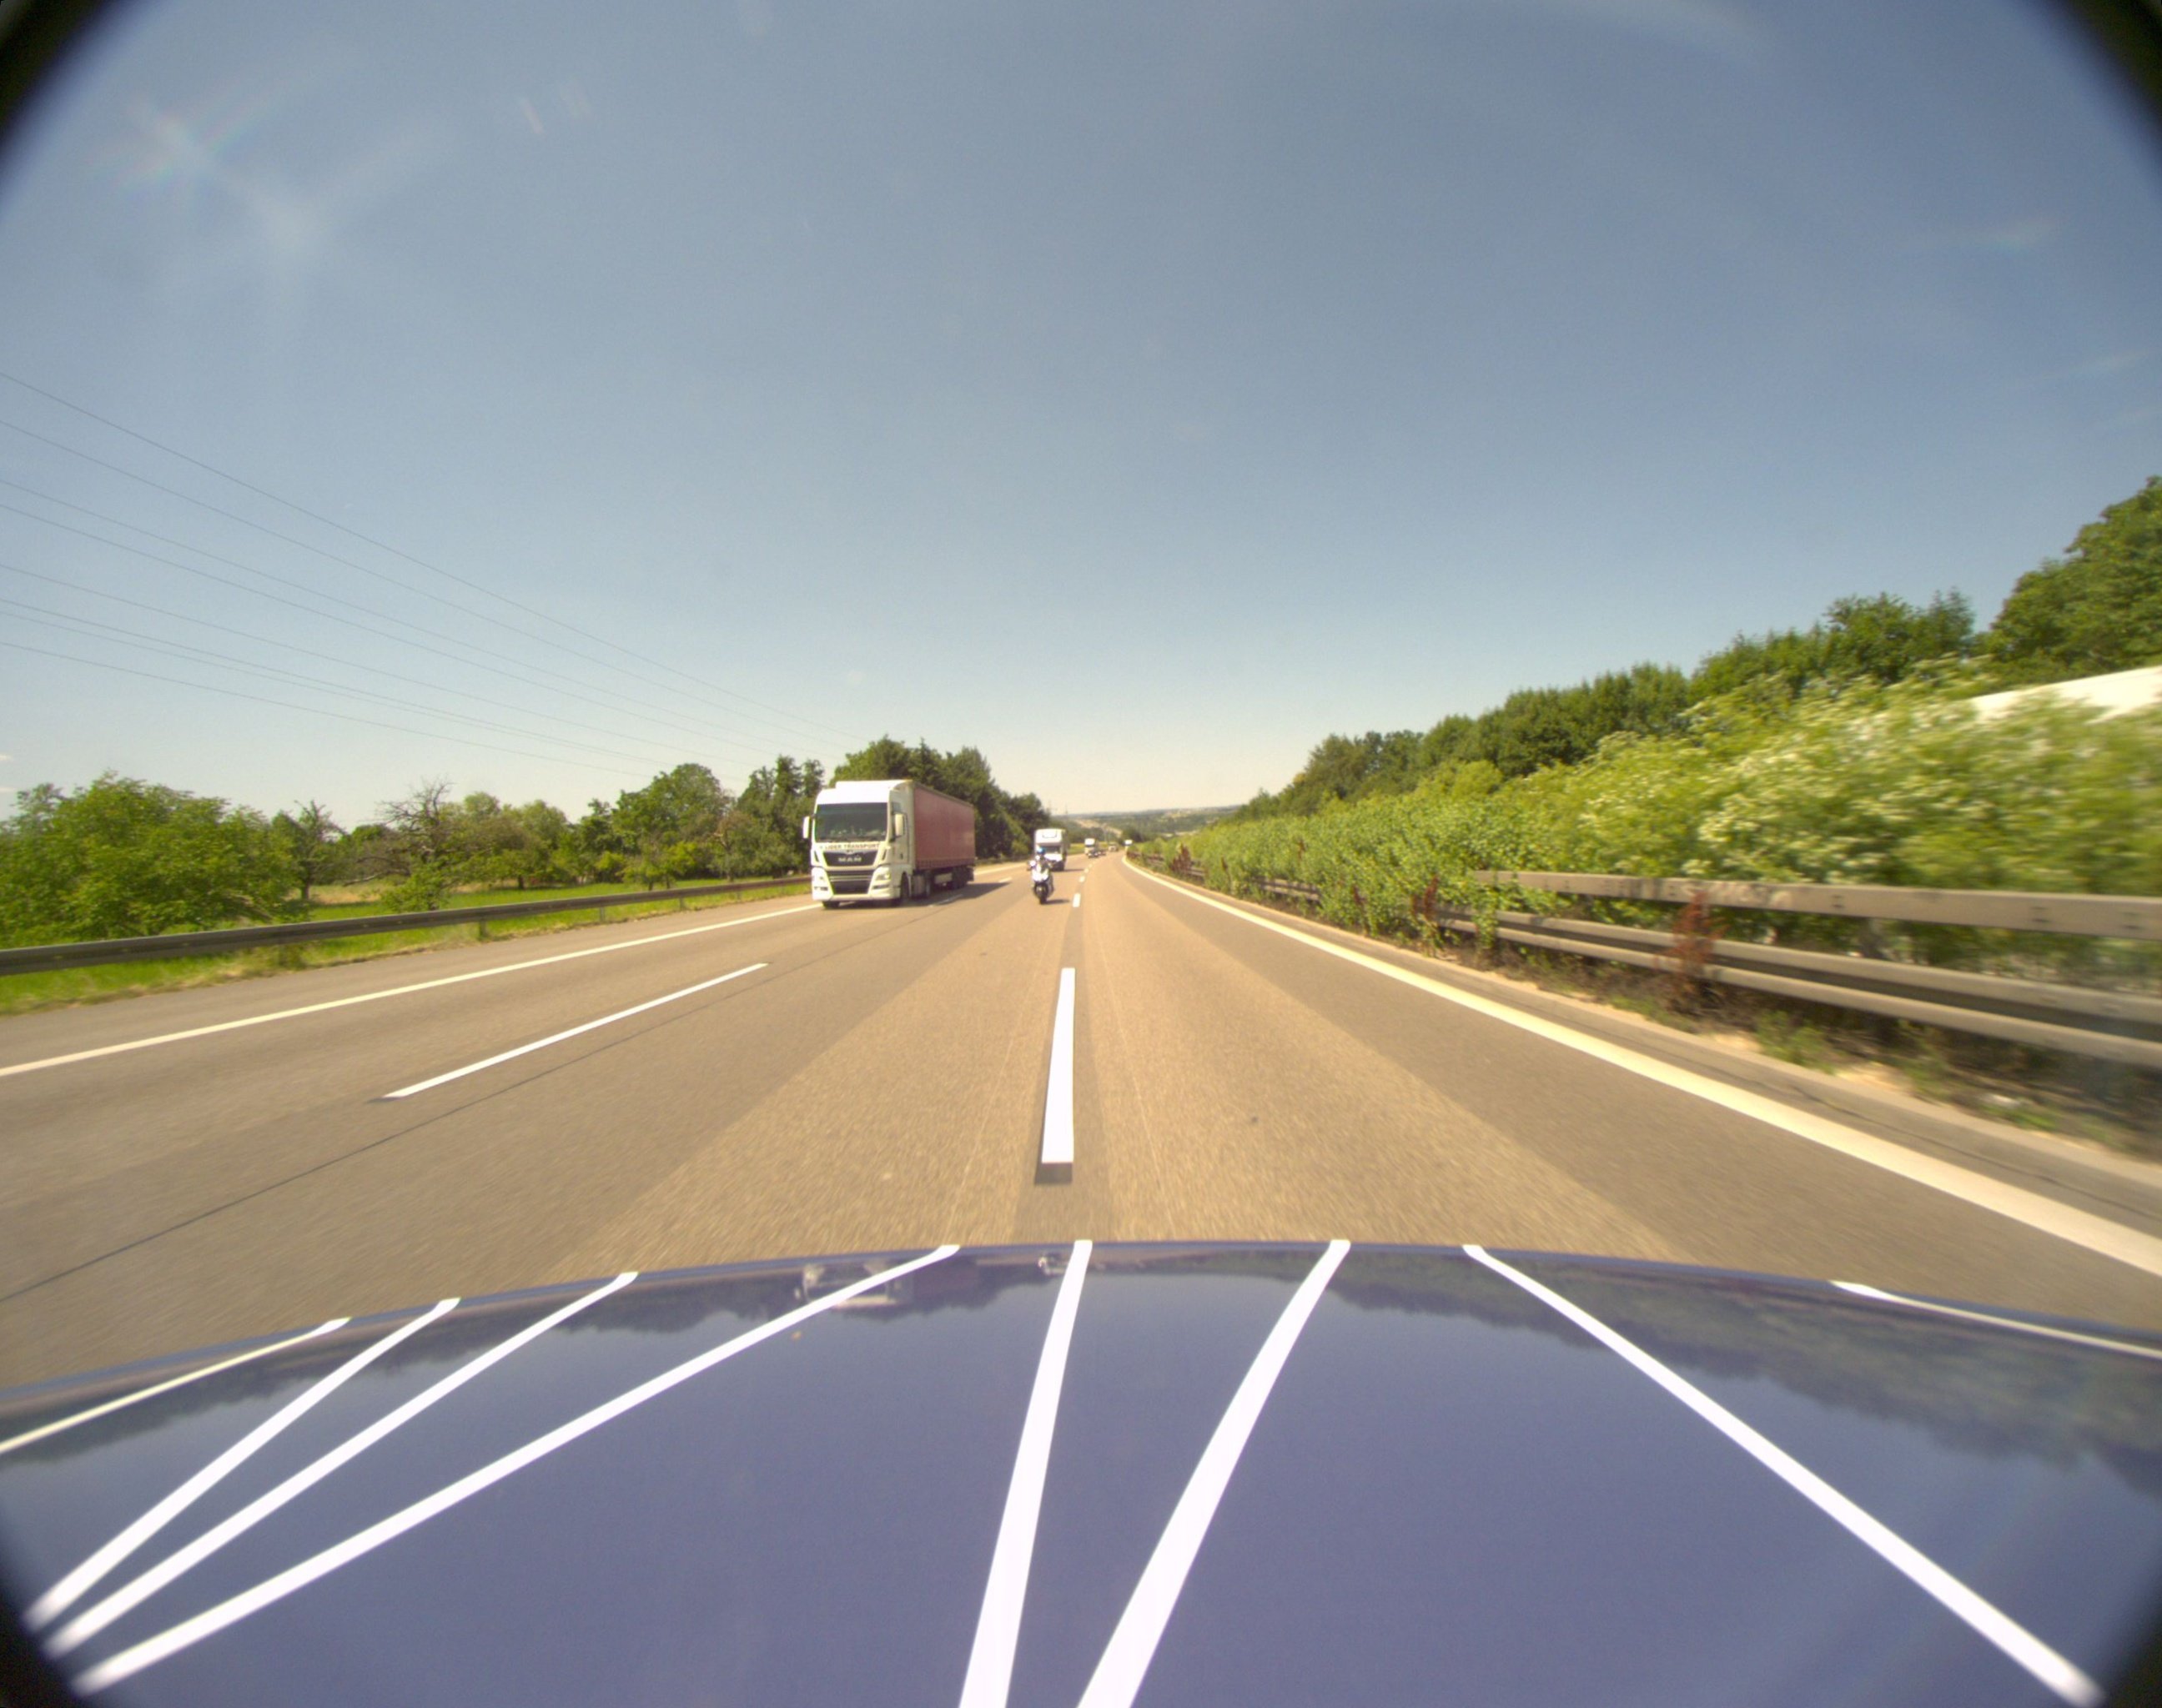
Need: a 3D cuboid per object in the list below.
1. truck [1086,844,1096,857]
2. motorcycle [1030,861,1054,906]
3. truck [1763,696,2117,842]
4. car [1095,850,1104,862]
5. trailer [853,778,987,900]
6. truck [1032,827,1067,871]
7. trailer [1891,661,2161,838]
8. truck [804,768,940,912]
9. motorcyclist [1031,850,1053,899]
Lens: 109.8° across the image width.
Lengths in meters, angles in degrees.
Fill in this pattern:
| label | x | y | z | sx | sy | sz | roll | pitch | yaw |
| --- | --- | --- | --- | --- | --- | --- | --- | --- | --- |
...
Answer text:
| label | x | y | z | sx | sy | sz | roll | pitch | yaw |
| --- | --- | --- | --- | --- | --- | --- | --- | --- | --- |
| truck | 2.677 | -0.885 | 203.079 | 2.591 | 3.444 | 5.962 | -1 | 1 | 0 |
| motorcycle | -1.197 | 0.885 | 23.596 | 0.631 | 1.279 | 2.312 | -2 | 1 | -1 |
| truck | 18.727 | -1.692 | 17.042 | 2.695 | 2.732 | 4.644 | -1 | 1 | 0 |
| car | 3.389 | 0.348 | 139.164 | 1.704 | 1.958 | 4.000 | -1 | 1 | 2 |
| trailer | -6.494 | -0.596 | 33.338 | 2.607 | 4.239 | 13.033 | -2 | 1 | 2 |
| truck | -2.469 | -0.400 | 61.283 | 2.513 | 3.268 | 8.105 | -1 | 1 | -1 |
| trailer | 18.677 | -1.706 | 10.127 | 2.680 | 2.785 | 12.312 | -1 | 1 | 0 |
| truck | -6.675 | -0.434 | 25.315 | 2.567 | 4.130 | 6.248 | -2 | 1 | 1 |
| motorcyclist | -1.208 | 0.622 | 23.665 | 0.613 | 1.499 | 0.513 | -2 | 1 | -1 |
